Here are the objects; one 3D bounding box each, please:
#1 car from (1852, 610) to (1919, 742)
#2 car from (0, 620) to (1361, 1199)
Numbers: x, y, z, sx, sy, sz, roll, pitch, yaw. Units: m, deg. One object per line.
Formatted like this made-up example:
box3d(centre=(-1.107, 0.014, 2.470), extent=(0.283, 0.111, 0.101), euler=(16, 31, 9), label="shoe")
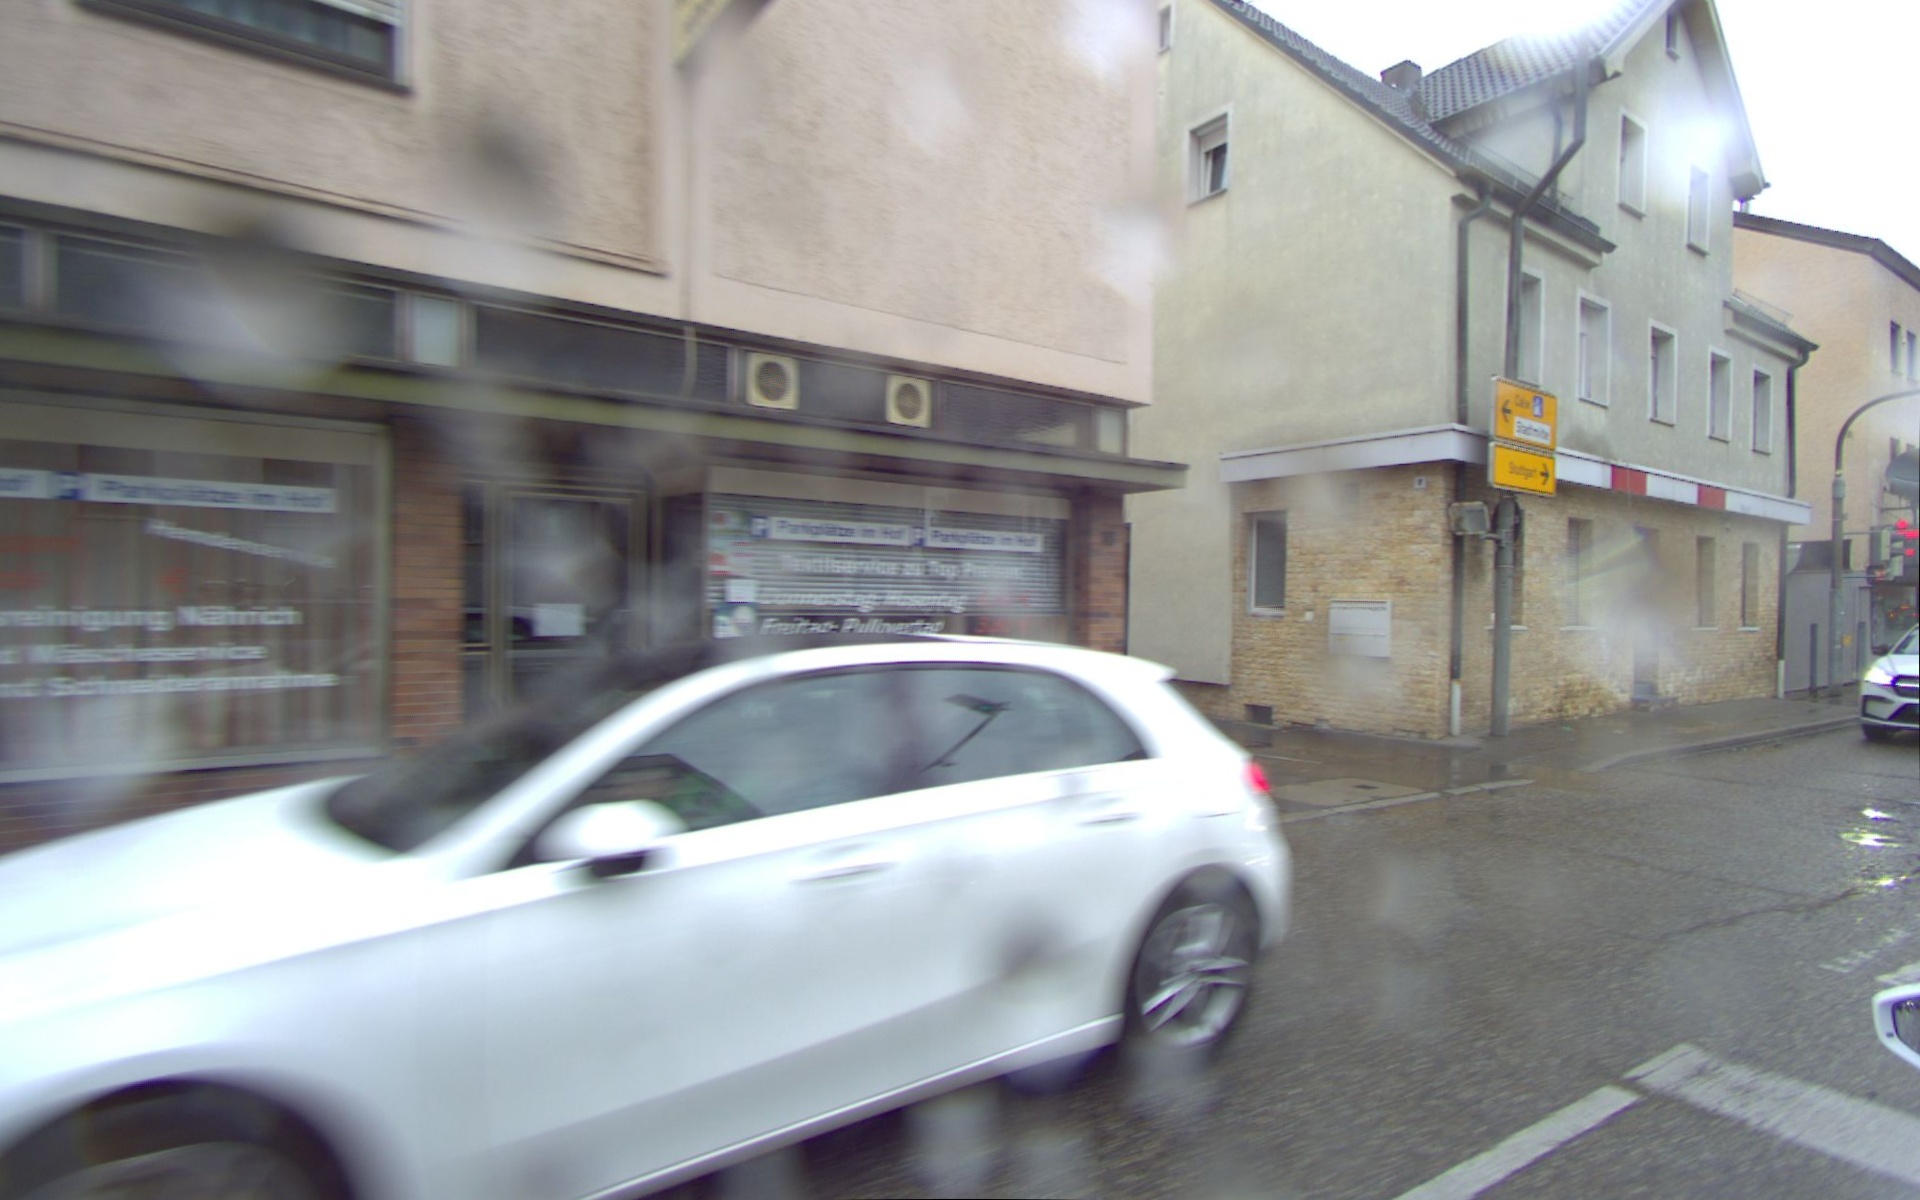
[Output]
box3d(centre=(13.529, 0.940, 13.247), extent=(4.295, 1.581, 1.772), euler=(0, 0, -36), label="car")
box3d(centre=(-0.671, 0.784, 3.192), extent=(4.071, 1.391, 1.679), euler=(0, -1, -35), label="car")
